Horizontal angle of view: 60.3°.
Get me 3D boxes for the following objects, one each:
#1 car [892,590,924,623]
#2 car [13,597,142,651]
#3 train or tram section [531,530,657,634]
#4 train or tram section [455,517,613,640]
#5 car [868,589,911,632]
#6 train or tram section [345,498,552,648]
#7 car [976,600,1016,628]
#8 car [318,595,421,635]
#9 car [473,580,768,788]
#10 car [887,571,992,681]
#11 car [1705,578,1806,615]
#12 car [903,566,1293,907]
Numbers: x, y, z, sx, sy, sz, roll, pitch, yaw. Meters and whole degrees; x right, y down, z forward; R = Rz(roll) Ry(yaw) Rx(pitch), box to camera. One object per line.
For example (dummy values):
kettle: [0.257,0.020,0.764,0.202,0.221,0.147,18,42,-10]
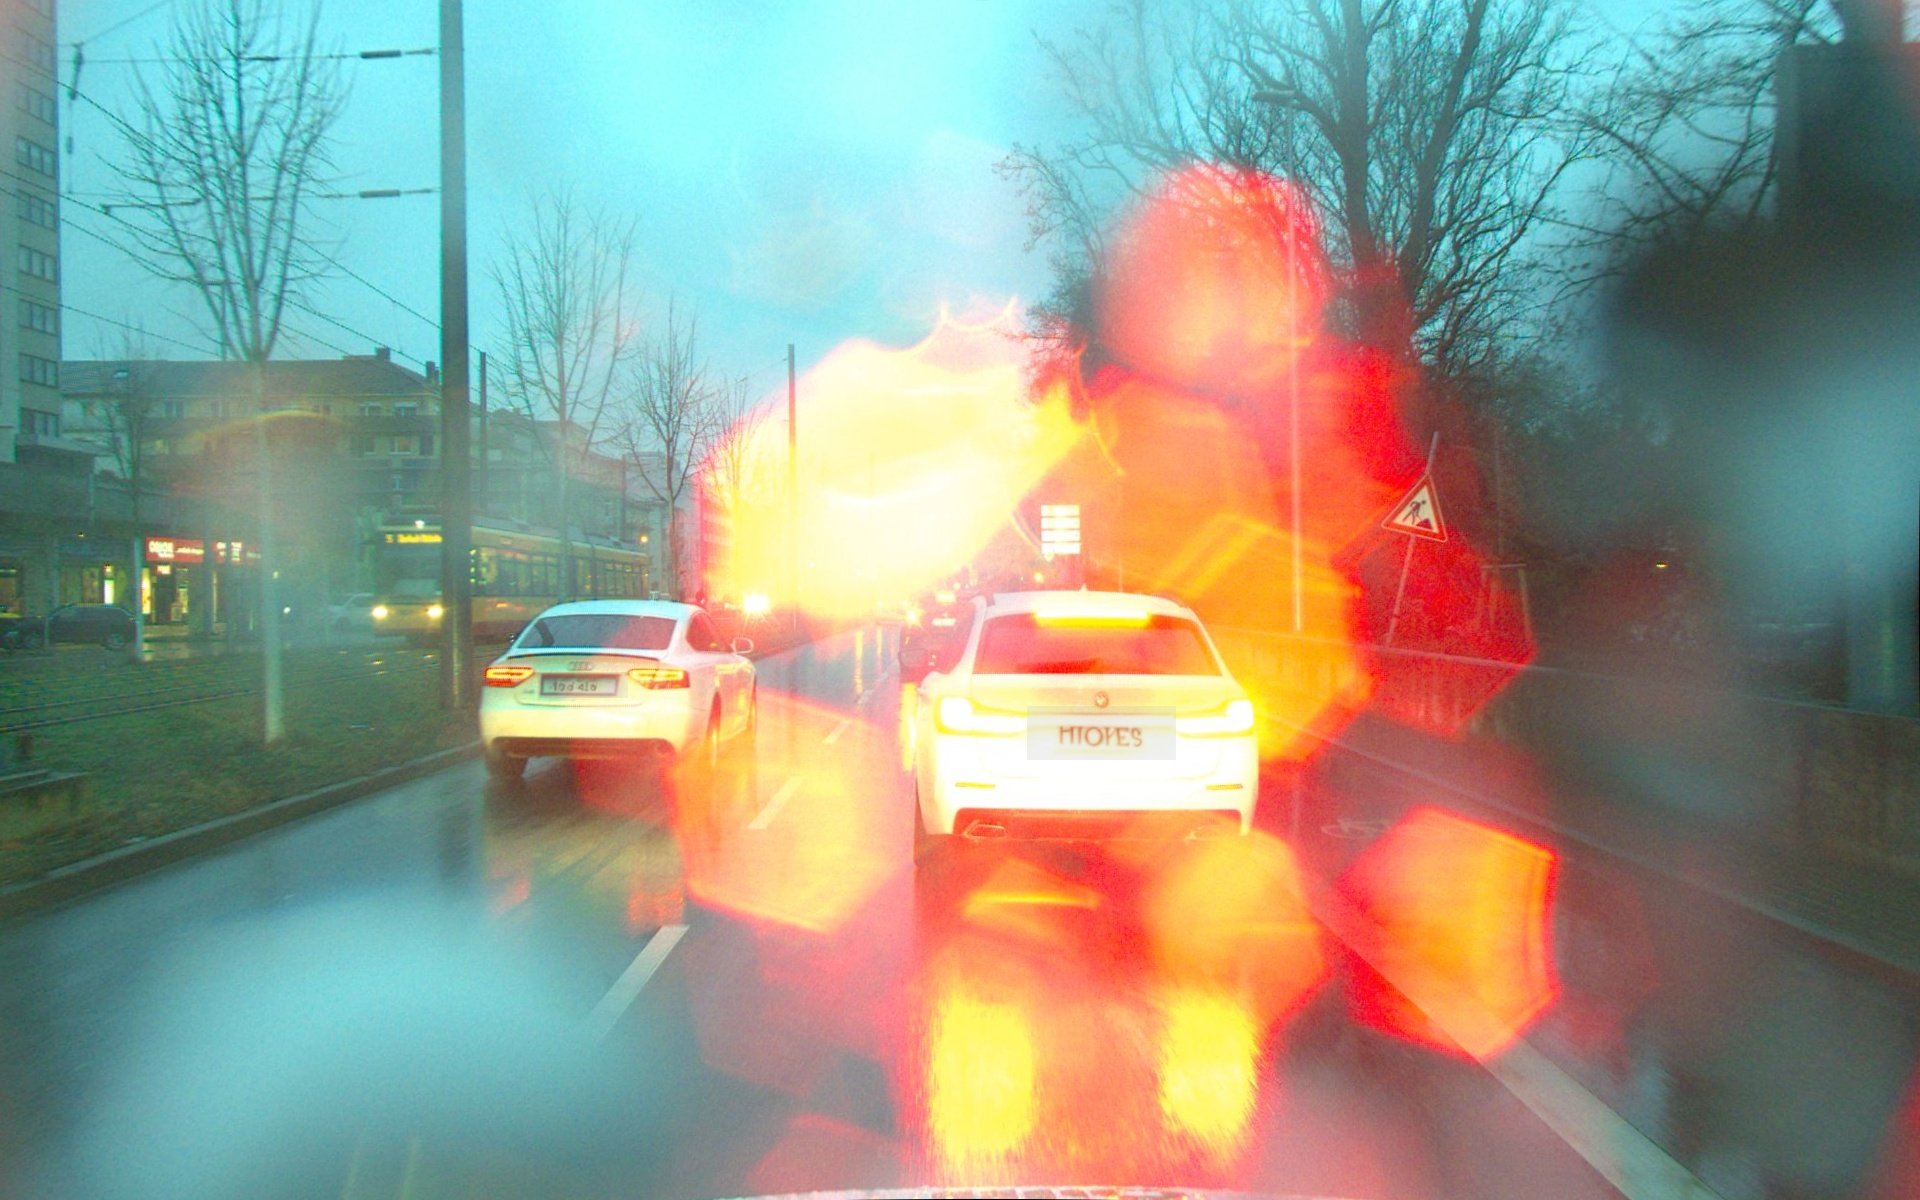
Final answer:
car: [-3.344,0.421,107.348,1.953,2.049,3.999,1,0,-1]
car: [-31.790,0.829,59.628,3.787,1.828,1.880,-1,0,-42]
train or tram section: [-13.738,-0.630,62.875,2.784,3.566,9.156,-2,0,-1]
train or tram section: [-13.617,-0.642,53.723,2.784,3.566,9.156,-2,0,-1]
car: [-3.395,0.502,80.446,1.953,2.049,3.999,1,0,-1]
train or tram section: [-13.482,-0.651,44.530,2.784,3.566,9.156,-2,0,-1]
car: [2.795,1.071,128.168,1.952,2.049,4.001,1,0,20]
car: [-31.543,0.753,88.484,4.843,2.049,1.969,-1,0,-42]
car: [-2.712,0.612,14.146,1.724,1.495,4.250,1,0,-1]
car: [-0.406,0.491,33.048,1.953,2.049,3.999,1,0,-1]
car: [37.712,-0.180,78.490,1.798,1.691,3.949,1,0,-36]
car: [0.582,0.643,9.858,1.725,1.580,4.248,1,0,-3]
